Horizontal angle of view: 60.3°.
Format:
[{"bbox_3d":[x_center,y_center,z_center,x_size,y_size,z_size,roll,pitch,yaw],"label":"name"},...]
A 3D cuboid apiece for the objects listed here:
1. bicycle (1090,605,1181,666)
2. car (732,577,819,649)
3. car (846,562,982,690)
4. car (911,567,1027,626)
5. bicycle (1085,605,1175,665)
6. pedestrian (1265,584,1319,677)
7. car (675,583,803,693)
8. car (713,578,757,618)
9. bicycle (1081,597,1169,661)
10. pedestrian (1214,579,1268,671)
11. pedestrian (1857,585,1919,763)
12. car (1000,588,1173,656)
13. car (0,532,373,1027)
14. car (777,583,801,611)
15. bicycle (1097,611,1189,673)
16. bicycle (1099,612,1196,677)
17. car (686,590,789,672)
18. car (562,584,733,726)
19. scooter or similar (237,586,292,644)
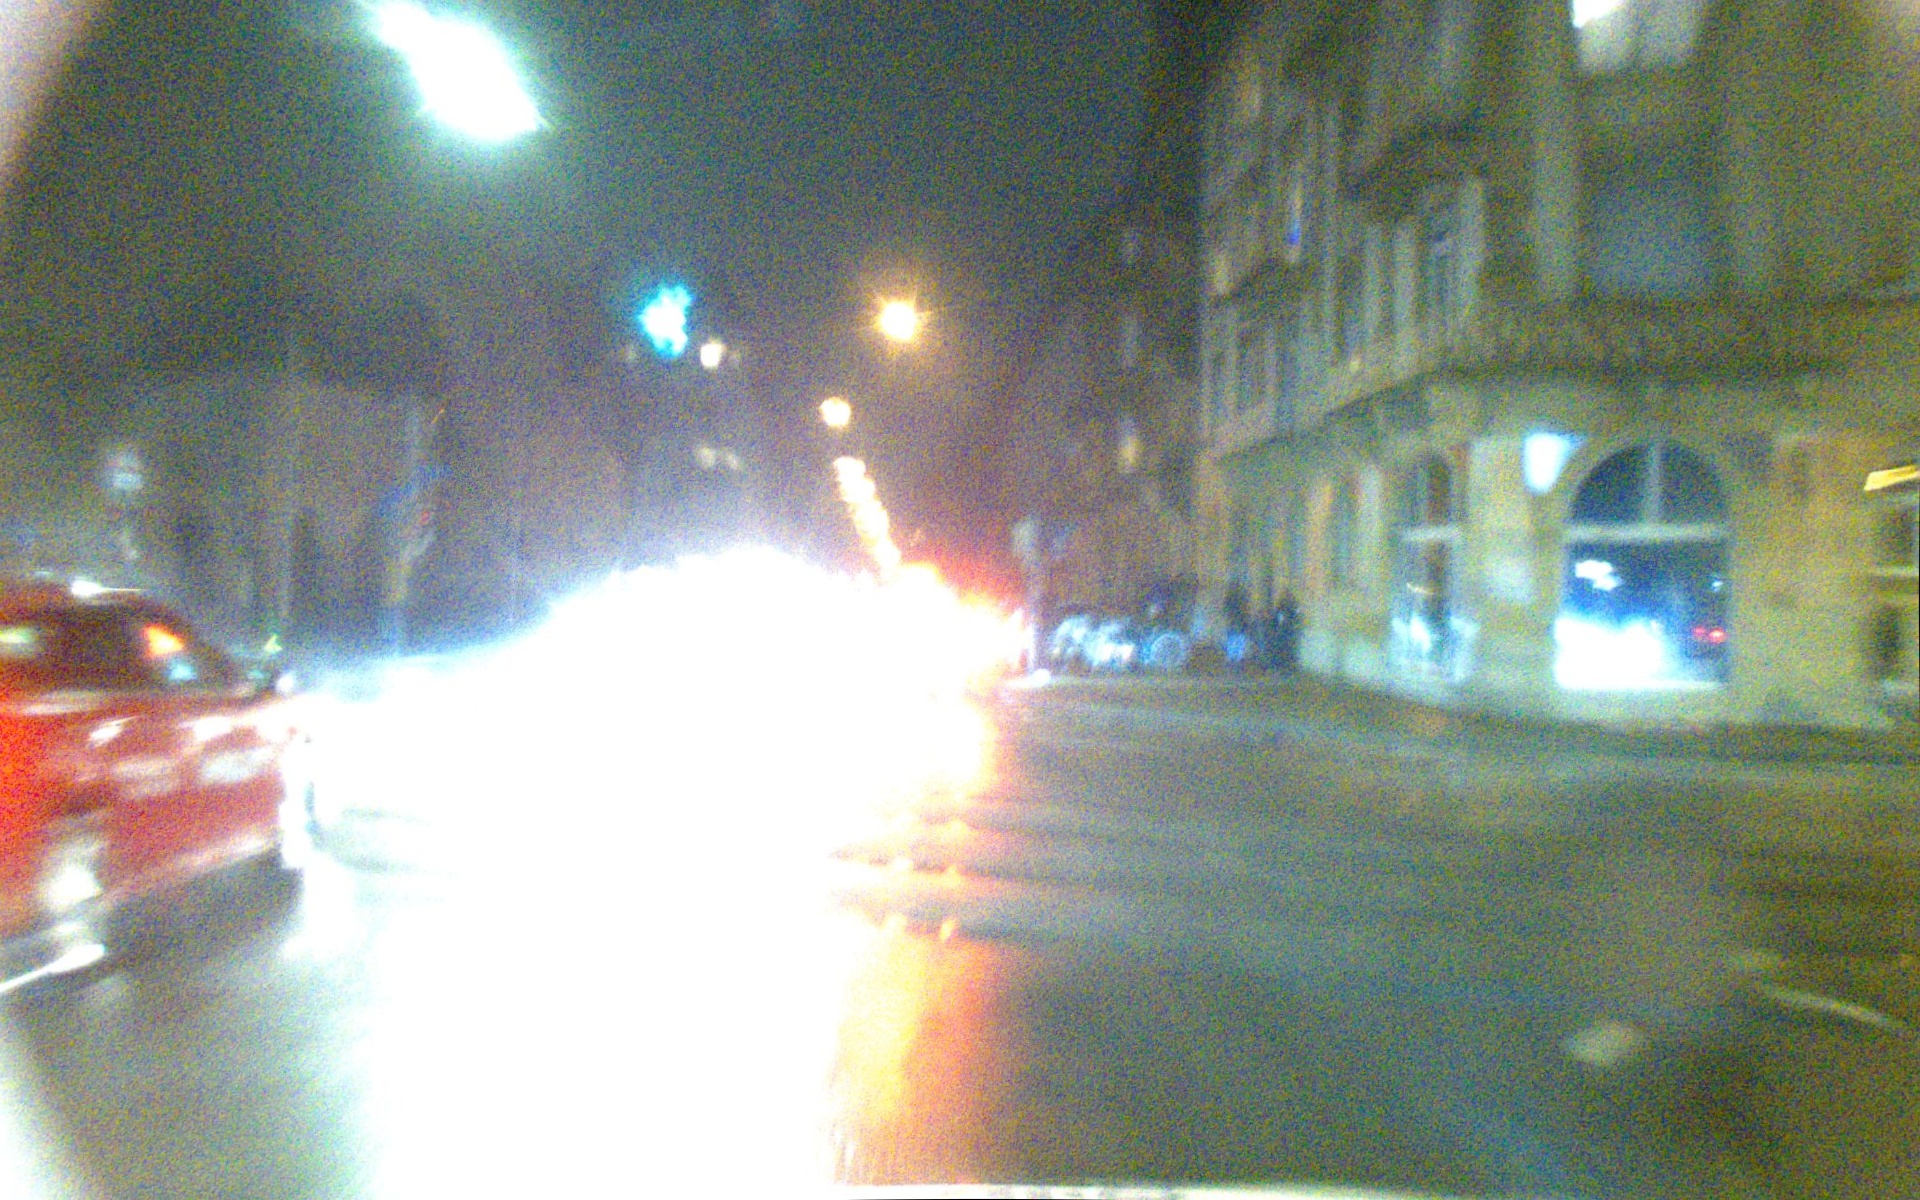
[{"bbox_3d":[3.822,0.766,35.983,1.861,1.273,0.595,-1,0,-7],"label":"bicycle"},{"bbox_3d":[-4.315,0.271,39.260,1.752,1.581,4.851,1,0,-3],"label":"car"},{"bbox_3d":[-0.804,0.390,28.114,2.124,2.006,4.300,0,0,-2],"label":"car"},{"bbox_3d":[0.420,-0.194,73.056,4.965,2.433,2.108,-2,2,-41],"label":"car"},{"bbox_3d":[3.756,0.770,36.603,1.861,1.273,0.595,-1,0,-7],"label":"bicycle"},{"bbox_3d":[6.048,0.541,30.169,0.765,1.646,0.999,0,1,-2],"label":"pedestrian"},{"bbox_3d":[-3.447,0.545,26.392,1.635,1.589,4.006,1,0,-2],"label":"car"},{"bbox_3d":[-11.744,-0.147,86.099,1.697,2.006,3.710,1,1,-17],"label":"car"},{"bbox_3d":[3.701,0.635,37.201,1.861,1.384,0.595,-1,0,-7],"label":"bicycle"},{"bbox_3d":[5.898,0.513,34.760,0.938,1.914,0.999,0,1,-2],"label":"pedestrian"},{"bbox_3d":[11.449,0.868,19.910,0.953,2.048,1.016,0,3,18],"label":"pedestrian"},{"bbox_3d":[3.117,0.503,40.222,4.148,1.483,1.830,-2,2,-41],"label":"car"},{"bbox_3d":[-4.037,0.544,6.855,1.782,1.569,4.723,1,0,-4],"label":"car"},{"bbox_3d":[-12.583,-0.267,121.970,1.691,2.006,4.216,1,1,-6],"label":"car"},{"bbox_3d":[3.901,0.893,35.335,1.861,1.273,0.595,-1,0,-7],"label":"bicycle"},{"bbox_3d":[3.879,0.919,34.302,1.861,1.273,0.709,-1,0,-7],"label":"bicycle"},{"bbox_3d":[-4.230,0.555,31.981,1.635,1.445,4.095,1,0,-3],"label":"car"},{"bbox_3d":[-3.774,0.599,20.512,1.673,1.569,3.985,1,0,-5],"label":"car"},{"bbox_3d":[-15.143,0.330,36.034,1.064,1.261,0.283,1,0,-31],"label":"scooter or similar"}]
